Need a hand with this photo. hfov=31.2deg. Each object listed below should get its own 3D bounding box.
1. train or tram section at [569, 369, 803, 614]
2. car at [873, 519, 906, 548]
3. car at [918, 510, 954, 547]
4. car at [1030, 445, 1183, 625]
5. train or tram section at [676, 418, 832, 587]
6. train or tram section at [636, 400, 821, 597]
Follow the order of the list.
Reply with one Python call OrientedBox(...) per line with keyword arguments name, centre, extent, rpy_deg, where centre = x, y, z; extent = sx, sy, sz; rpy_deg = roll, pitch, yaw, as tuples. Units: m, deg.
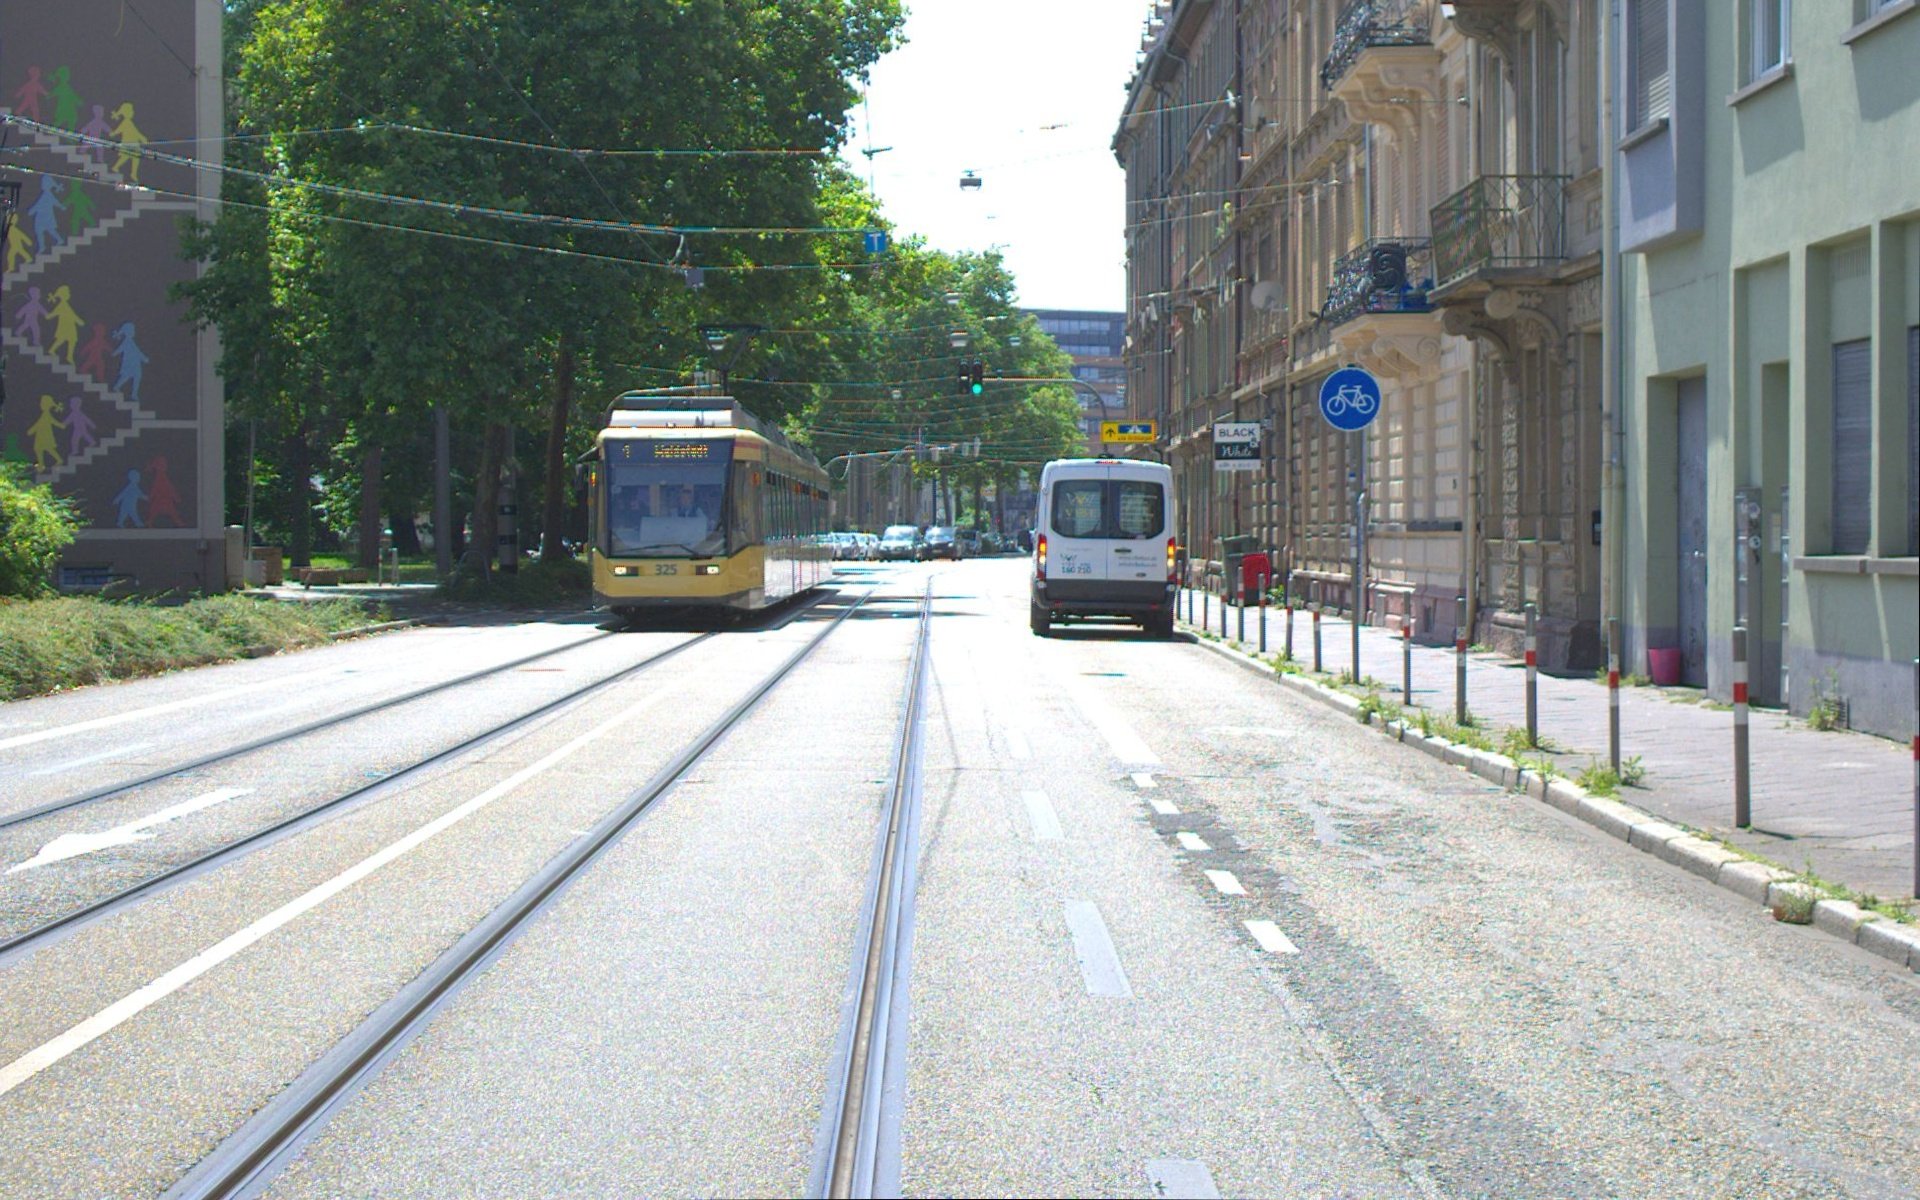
OrientedBox(name="train or tram section", centre=(-4.317, -1.753, 57.018), extent=(2.960, 3.568, 13.424), rpy_deg=(0, 1, -1))
OrientedBox(name="car", centre=(-3.492, -3.267, 169.185), extent=(1.528, 1.404, 3.490), rpy_deg=(1, 1, -2))
OrientedBox(name="car", centre=(-1.246, -3.675, 175.775), extent=(1.673, 1.853, 4.001), rpy_deg=(1, 1, -3))
OrientedBox(name="car", centre=(2.113, -0.979, 50.892), extent=(2.067, 2.492, 5.454), rpy_deg=(1, 1, 1))
OrientedBox(name="train or tram section", centre=(-4.603, -2.221, 79.436), extent=(2.960, 3.568, 13.424), rpy_deg=(0, 1, -1))
OrientedBox(name="train or tram section", centre=(-4.475, -2.007, 69.191), extent=(2.960, 3.568, 13.424), rpy_deg=(0, 1, -1))
